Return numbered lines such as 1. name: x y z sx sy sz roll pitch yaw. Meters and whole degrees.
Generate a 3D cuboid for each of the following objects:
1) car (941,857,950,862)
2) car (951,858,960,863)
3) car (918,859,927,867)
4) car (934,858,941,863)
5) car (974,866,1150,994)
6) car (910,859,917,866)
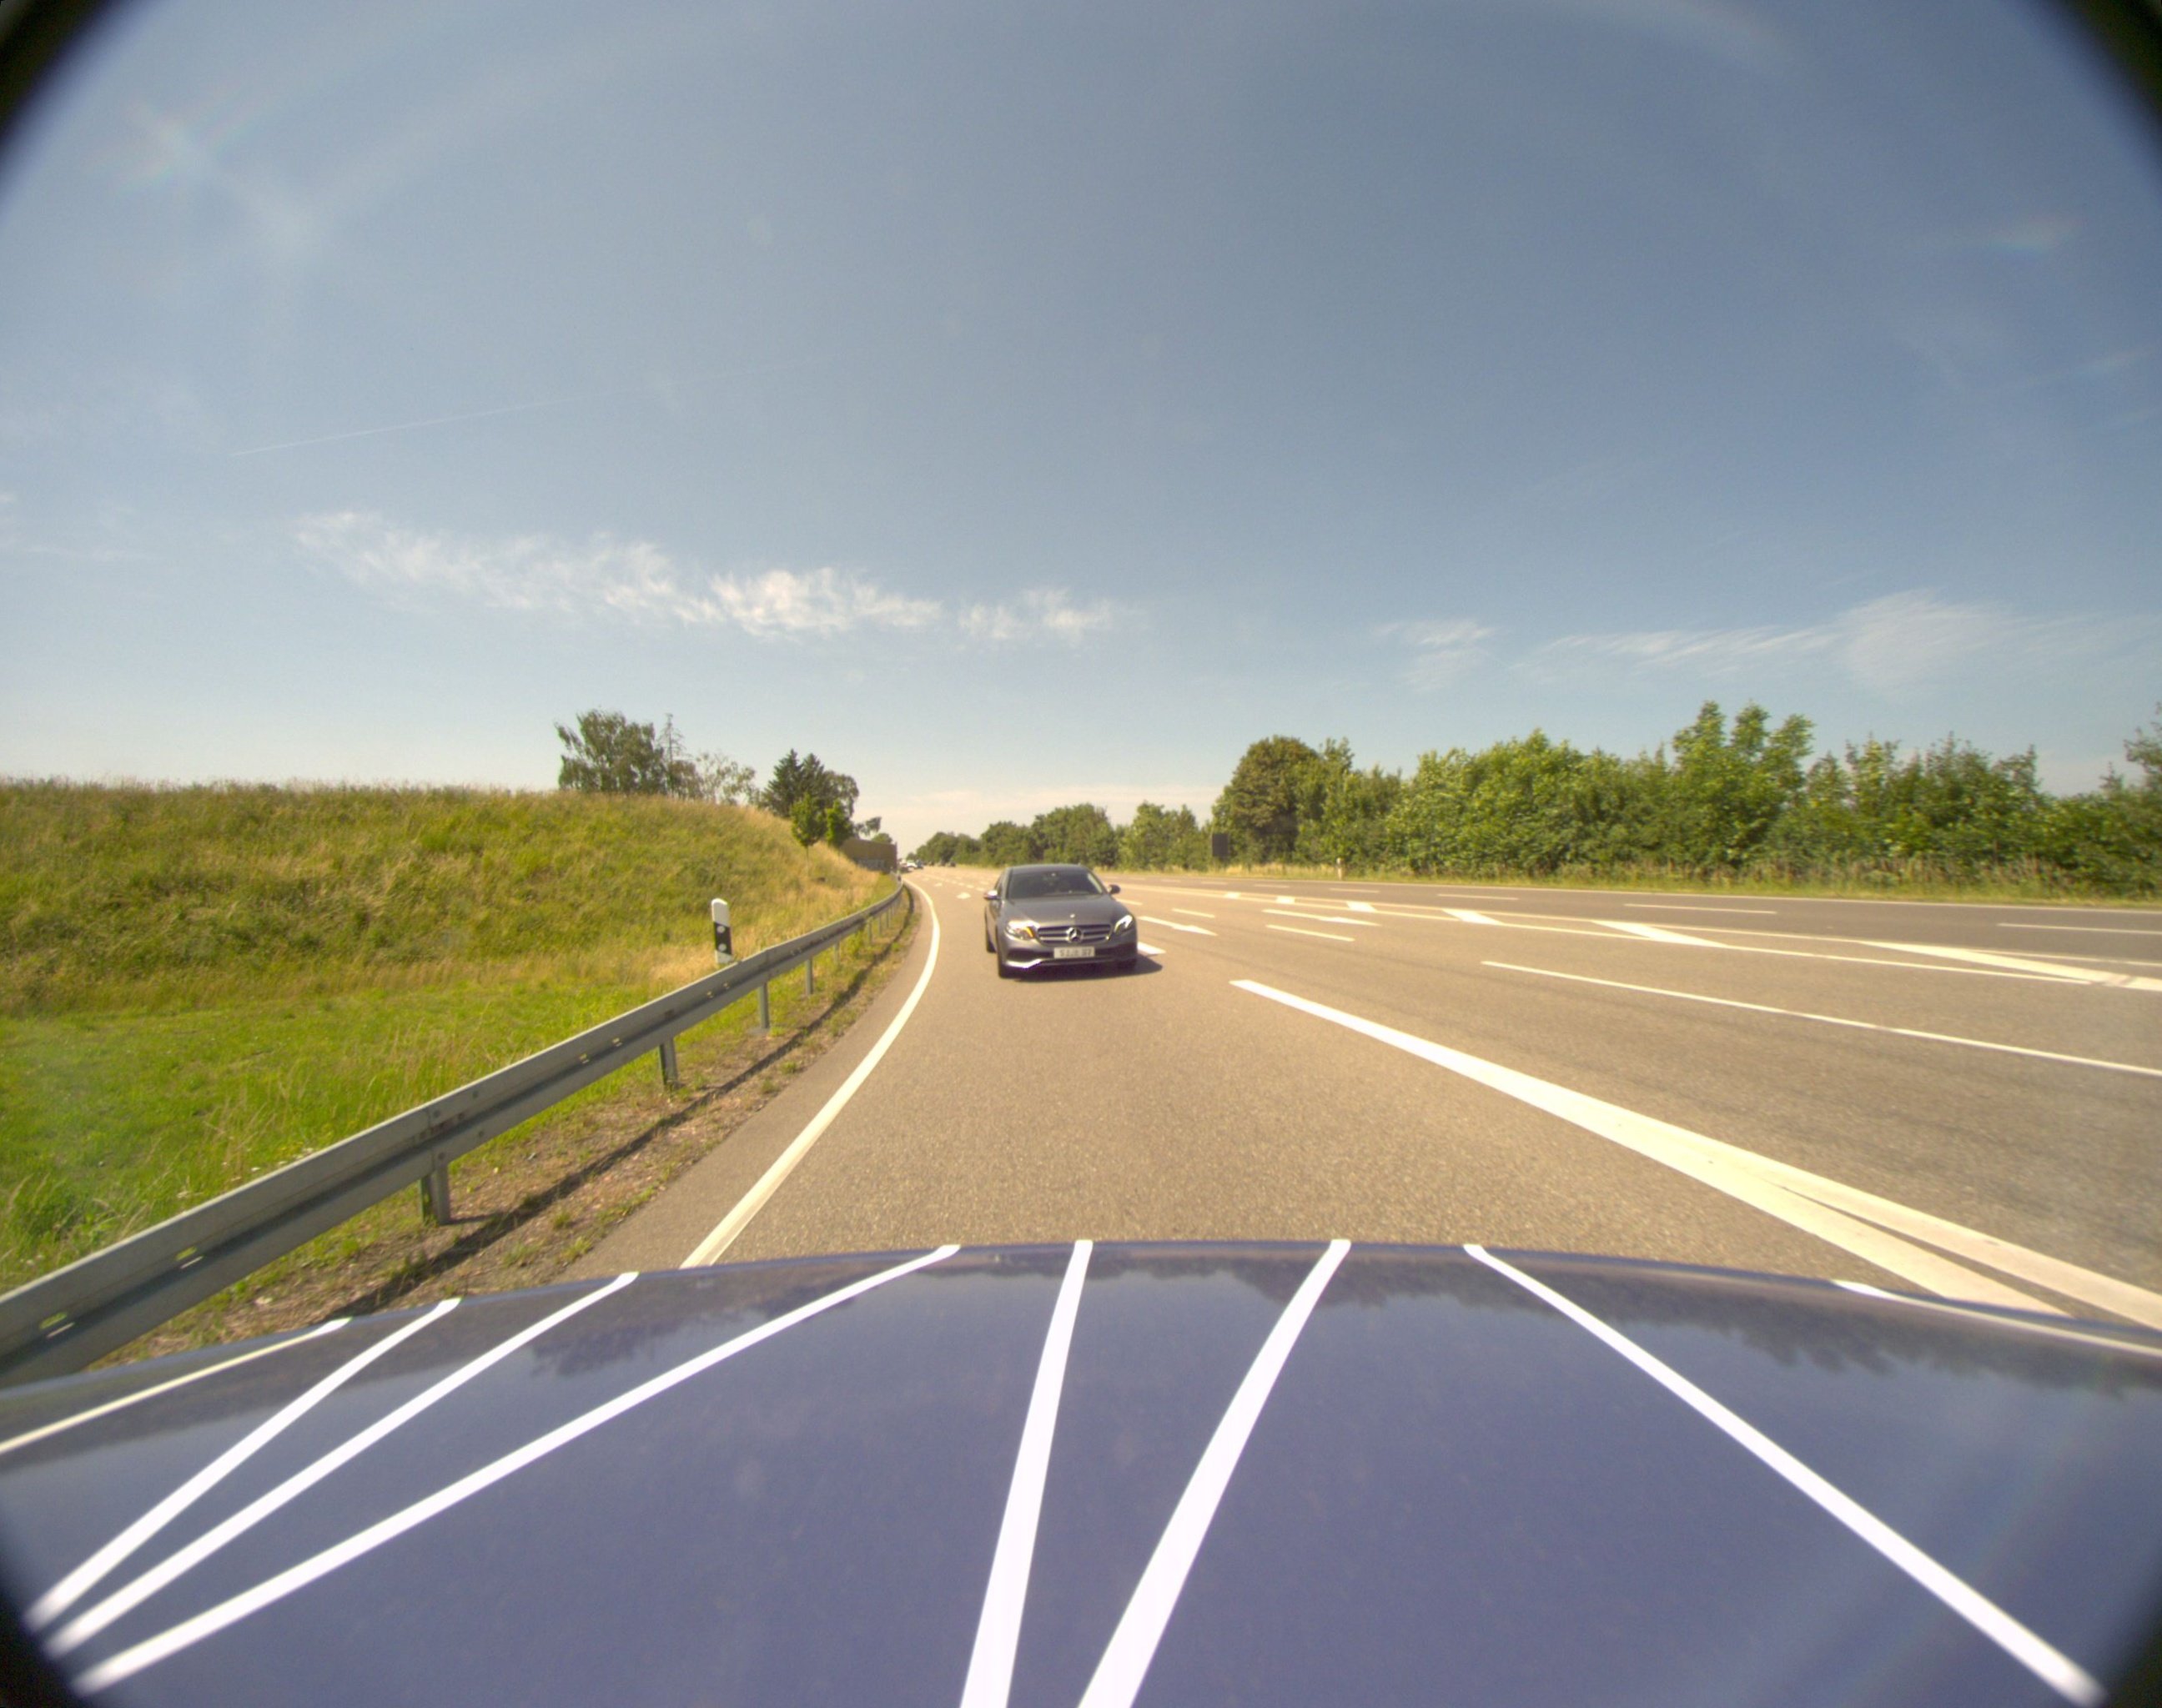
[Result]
1. car: -41.724 1.682 233.892 2.035 1.630 4.562 -1 1 -16
2. car: -34.525 1.782 208.707 1.885 1.390 4.525 -2 1 -15
3. car: -34.038 1.950 163.437 1.803 1.674 3.995 -3 1 -13
4. car: -47.345 2.033 250.567 1.651 1.479 3.554 -3 1 -15
5. car: -0.523 0.959 11.557 1.895 1.439 4.522 -2 0 -11
6. car: -45.023 2.297 204.484 1.803 1.674 3.995 -3 1 -13
